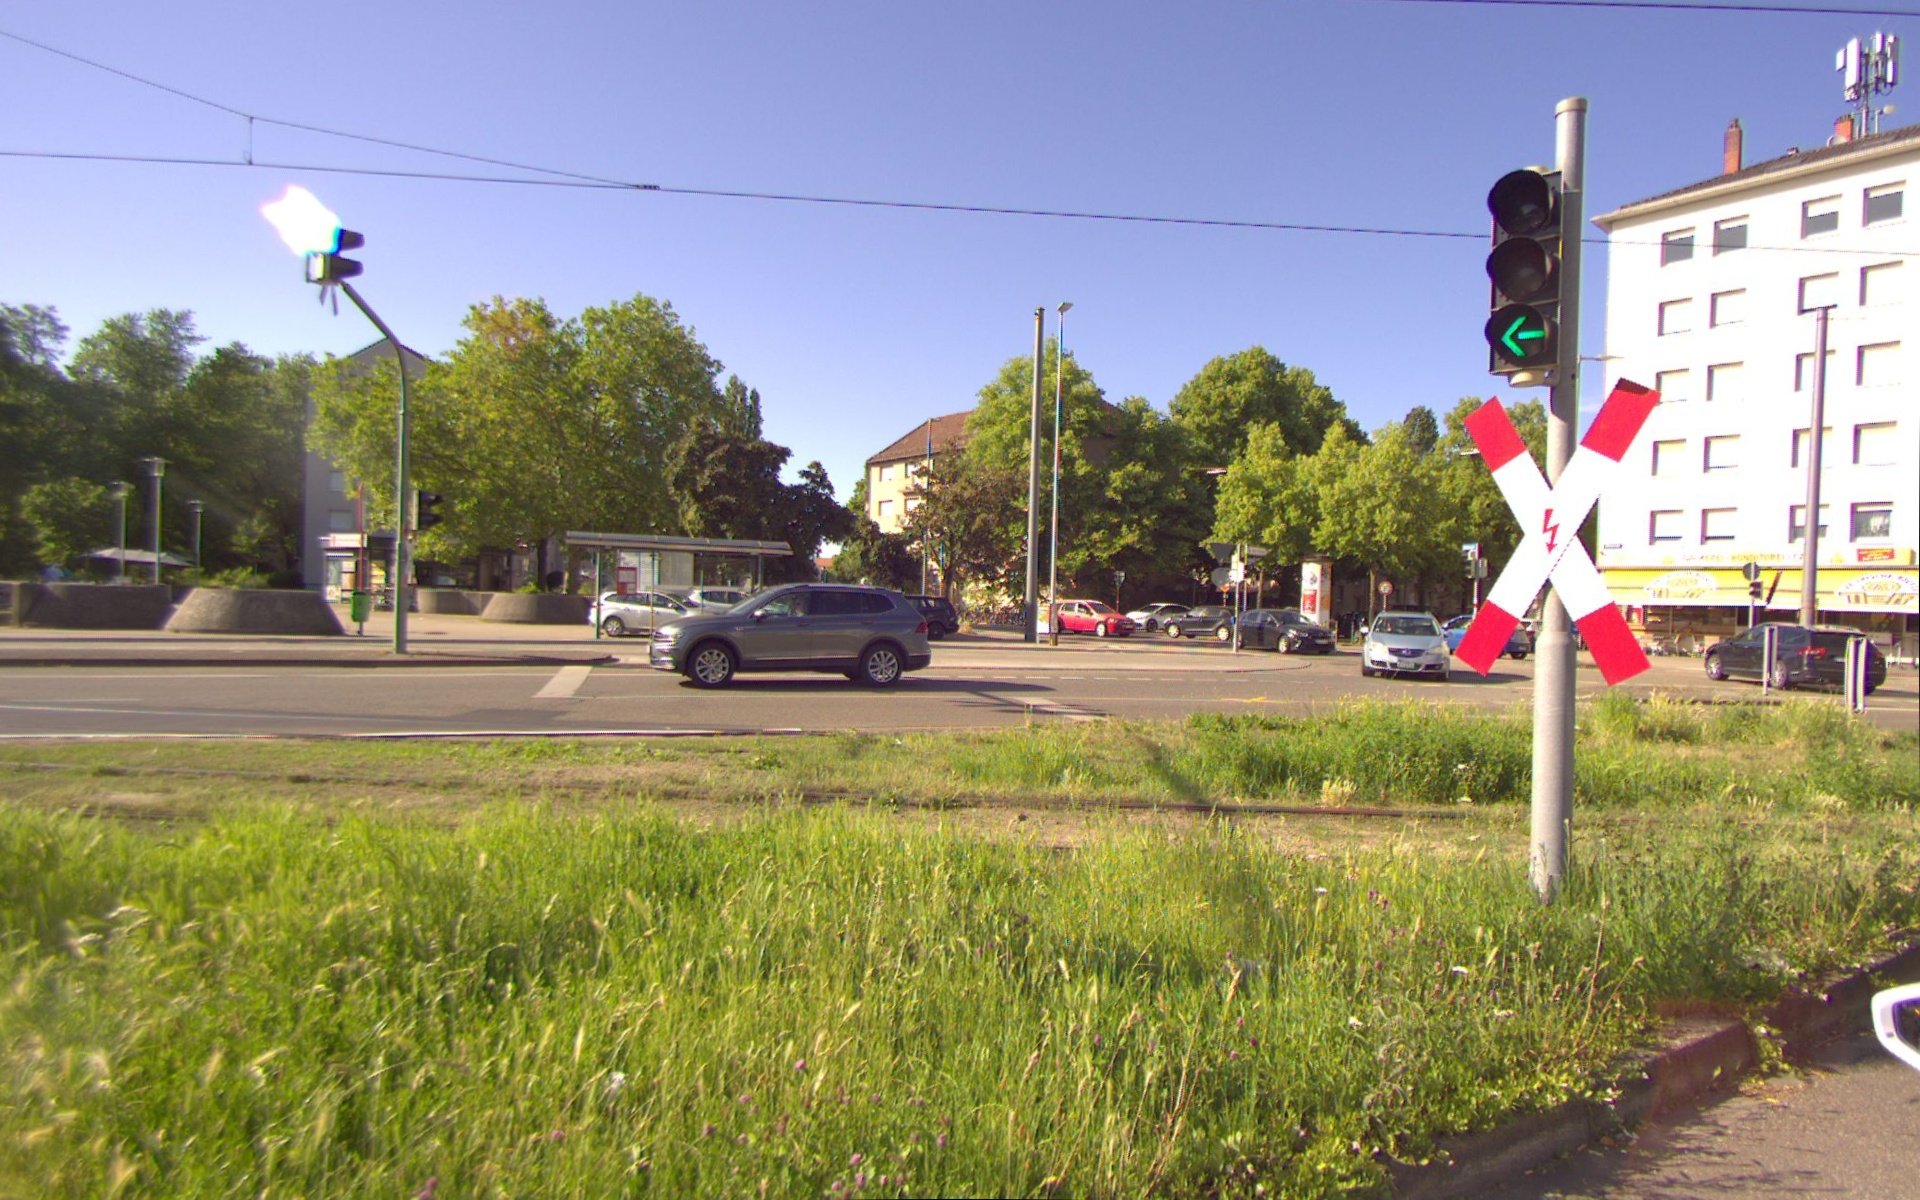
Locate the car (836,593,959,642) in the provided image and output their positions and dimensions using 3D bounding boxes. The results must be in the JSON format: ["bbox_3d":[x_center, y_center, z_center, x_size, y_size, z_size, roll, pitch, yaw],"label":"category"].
[{"bbox_3d":[-2.174,0.606,34.480,3.942,1.509,1.758,1,3,-16],"label":"car"}]

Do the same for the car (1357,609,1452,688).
[{"bbox_3d":[10.350,1.032,23.206,1.702,1.461,4.876,3,2,27],"label":"car"}]

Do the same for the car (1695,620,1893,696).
[{"bbox_3d":[19.402,1.281,23.643,1.730,1.506,4.296,2,0,12],"label":"car"}]

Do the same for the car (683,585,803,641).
[{"bbox_3d":[-7.420,0.436,34.613,3.928,1.741,1.760,1,3,-10],"label":"car"}]

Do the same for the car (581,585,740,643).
[{"bbox_3d":[-9.531,0.418,32.107,4.457,1.565,1.873,2,3,6],"label":"car"}]

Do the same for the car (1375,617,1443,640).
[{"bbox_3d":[26.975,1.704,60.406,3.374,1.206,1.668,2,0,5],"label":"car"}]

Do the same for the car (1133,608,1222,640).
[{"bbox_3d":[9.694,1.075,44.882,1.683,1.270,3.581,2,0,-41],"label":"car"}]

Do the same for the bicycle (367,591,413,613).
[{"bbox_3d":[-23.375,0.080,41.171,1.651,0.850,0.548,2,0,10],"label":"bicycle"}]

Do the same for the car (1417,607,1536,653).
[{"bbox_3d":[18.107,1.043,35.318,1.632,1.457,3.367,2,0,-31],"label":"car"}]

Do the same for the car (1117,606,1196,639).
[{"bbox_3d":[10.586,1.225,54.099,4.183,1.639,1.748,1,1,-35],"label":"car"}]

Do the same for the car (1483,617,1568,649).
[{"bbox_3d":[25.881,1.509,45.941,3.964,1.327,1.978,2,0,-38],"label":"car"}]

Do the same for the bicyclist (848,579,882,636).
[{"bbox_3d":[-2.630,0.204,27.760,0.671,1.551,0.606,0,2,-44],"label":"bicyclist"}]

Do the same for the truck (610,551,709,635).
[{"bbox_3d":[-11.600,-0.271,39.169,1.960,3.035,4.831,2,1,5],"label":"truck"}]

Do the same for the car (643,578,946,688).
[{"bbox_3d":[-2.730,0.540,16.646,4.657,1.635,1.749,2,0,-24],"label":"car"}]

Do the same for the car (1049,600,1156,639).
[{"bbox_3d":[6.104,0.824,43.376,1.742,1.508,4.488,2,0,-41],"label":"car"}]

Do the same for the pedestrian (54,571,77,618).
[{"bbox_3d":[-36.117,-0.213,40.541,0.716,1.854,0.557,2,1,39],"label":"pedestrian"}]
